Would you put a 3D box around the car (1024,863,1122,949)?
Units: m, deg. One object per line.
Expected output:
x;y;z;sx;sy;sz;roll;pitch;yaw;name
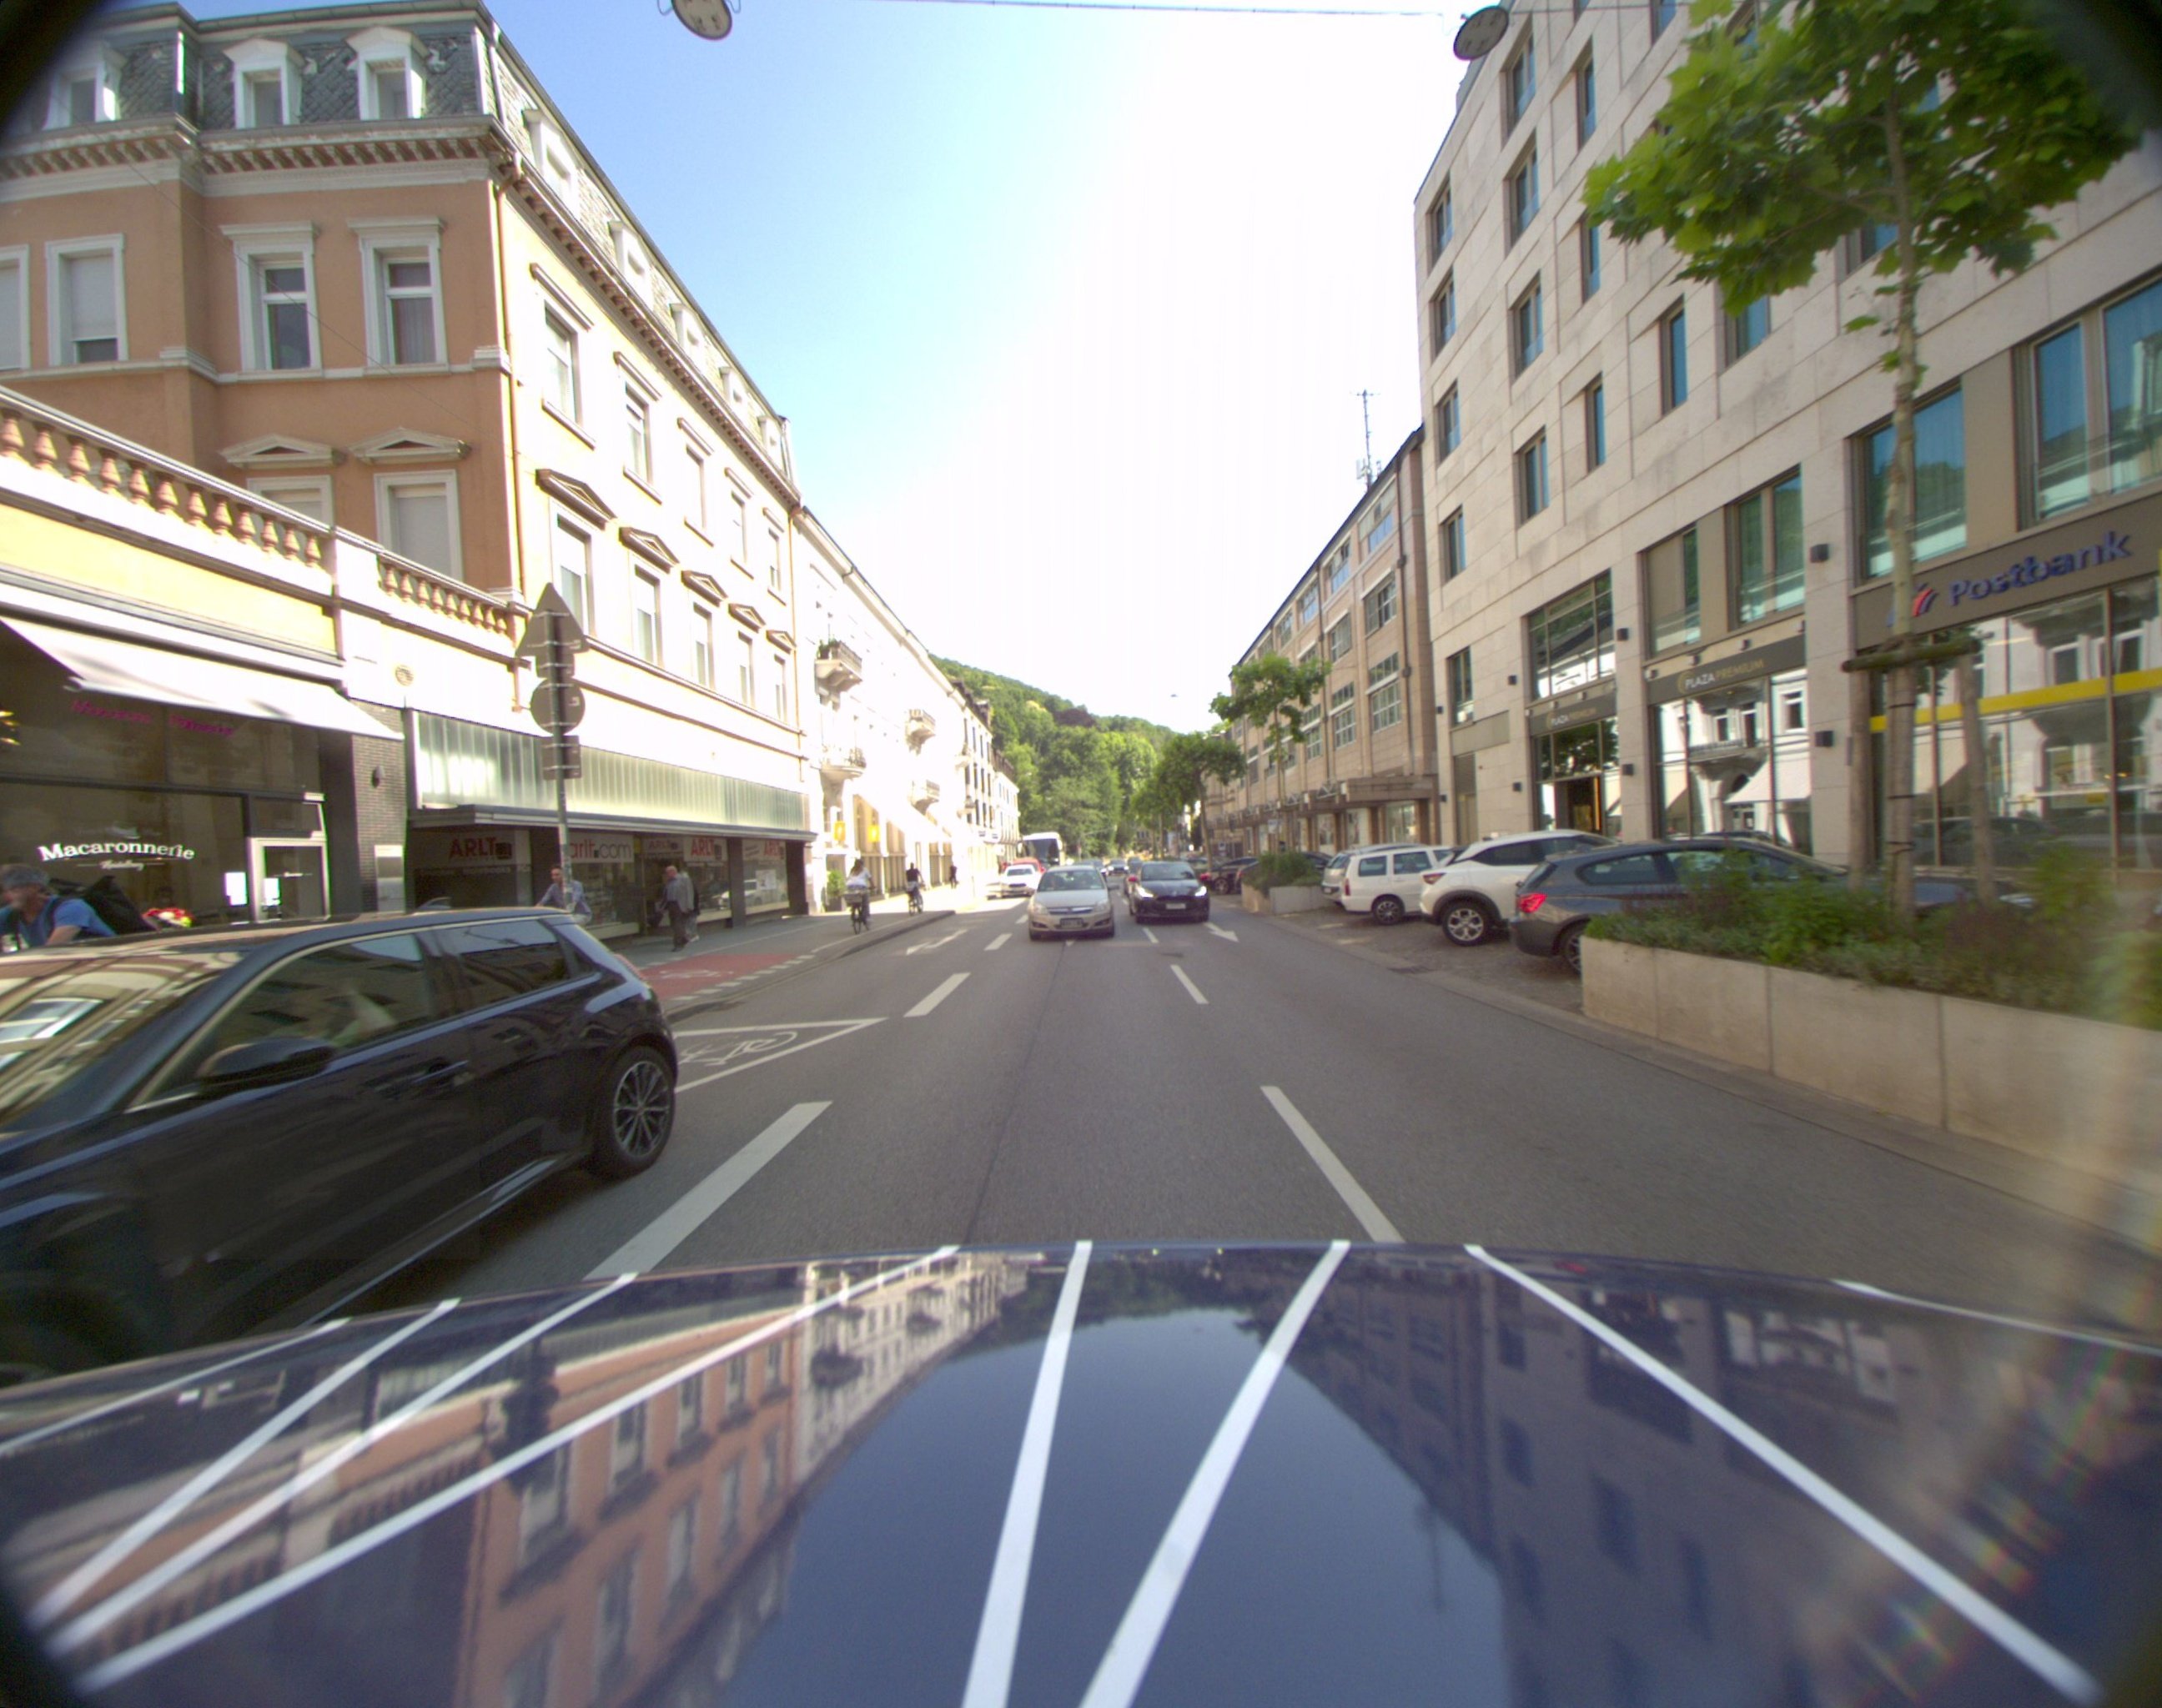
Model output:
-0.189;1.016;16.578;1.791;1.483;4.367;-3;0;-1;car

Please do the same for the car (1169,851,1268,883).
7.560;0.717;42.102;5.120;1.623;1.847;-2;0;40;car

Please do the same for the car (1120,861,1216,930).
2.082;0.955;19.233;1.868;1.469;4.106;-1;0;-1;car

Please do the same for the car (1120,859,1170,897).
2.643;0.960;32.031;1.734;1.389;4.106;-3;0;0;car

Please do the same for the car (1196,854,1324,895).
6.861;0.790;29.491;1.736;1.438;4.609;-2;0;-45;car

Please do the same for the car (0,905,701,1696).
-3.349;1.164;2.488;1.891;1.483;4.289;-5;1;1;car

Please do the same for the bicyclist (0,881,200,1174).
-6.698;1.060;4.951;0.840;1.707;0.844;-2;1;2;bicyclist

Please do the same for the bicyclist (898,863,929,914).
-5.356;1.098;24.360;0.747;1.564;0.844;-2;1;2;bicyclist

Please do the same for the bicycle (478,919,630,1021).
-7.226;1.547;10.556;0.748;1.111;1.918;-1;0;0;bicycle

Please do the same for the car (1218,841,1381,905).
6.920;0.620;24.225;4.521;1.496;1.795;-7;0;32;car

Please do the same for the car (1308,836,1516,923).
7.641;0.542;17.830;3.997;1.519;1.820;-6;2;1;car

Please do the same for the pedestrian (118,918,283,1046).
-9.700;1.385;8.399;1.088;1.308;0.625;0;0;0;pedestrian

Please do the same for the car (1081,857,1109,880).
0.963;0.976;51.599;1.775;1.469;4.107;-1;-1;1;car

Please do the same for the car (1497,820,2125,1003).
7.004;0.611;8.018;4.308;1.441;1.790;-6;0;35;car

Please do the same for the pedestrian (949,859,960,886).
-7.929;1.179;47.728;0.482;1.659;0.868;-2;0;1;pedestrian

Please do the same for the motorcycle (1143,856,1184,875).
6.129;0.892;56.638;0.980;1.342;3.095;-2;0;-42;motorcycle

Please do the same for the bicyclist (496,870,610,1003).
-7.245;1.100;10.475;0.910;1.707;0.844;-2;1;-2;bicyclist

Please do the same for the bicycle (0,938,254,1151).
-6.705;1.206;4.805;0.664;1.111;1.992;-2;0;3;bicycle

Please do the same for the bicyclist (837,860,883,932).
-5.423;1.007;18.724;0.747;1.693;1.036;-2;1;2;bicyclist

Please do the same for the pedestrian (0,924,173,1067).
-10.148;1.407;7.724;1.032;1.308;0.625;-2;0;0;pedestrian

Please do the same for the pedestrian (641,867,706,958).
-8.423;1.190;15.725;0.840;1.781;0.767;-2;1;2;pedestrian

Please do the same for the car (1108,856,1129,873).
3.286;0.905;67.701;1.733;1.389;4.107;-3;0;1;car

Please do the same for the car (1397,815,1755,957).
7.133;0.512;11.335;4.029;1.584;1.822;-8;0;34;car

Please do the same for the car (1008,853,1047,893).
-2.906;1.041;42.066;1.703;1.900;4.607;-7;-1;-1;car

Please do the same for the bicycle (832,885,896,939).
-5.385;1.413;19.052;0.743;1.120;2.574;-1;1;3;bicycle

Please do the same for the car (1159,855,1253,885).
6.428;0.843;39.381;4.392;1.438;1.890;-2;-1;41;car

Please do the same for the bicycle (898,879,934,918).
-5.337;1.425;24.665;0.596;1.120;2.094;-1;1;3;bicycle

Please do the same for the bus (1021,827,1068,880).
-2.599;-0.101;57.959;2.924;3.516;12.498;-2;0;-1;bus

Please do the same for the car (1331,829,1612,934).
7.358;0.531;14.837;4.493;1.424;1.865;-8;0;21;car

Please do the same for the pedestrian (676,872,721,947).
-8.819;1.260;17.550;0.522;1.656;0.844;-2;1;2;pedestrian

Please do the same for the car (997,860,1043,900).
-2.852;1.186;36.353;1.799;1.515;4.263;-6;1;-1;car

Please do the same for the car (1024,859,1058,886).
-2.443;1.108;47.074;1.868;1.479;4.414;-3;0;-1;car
